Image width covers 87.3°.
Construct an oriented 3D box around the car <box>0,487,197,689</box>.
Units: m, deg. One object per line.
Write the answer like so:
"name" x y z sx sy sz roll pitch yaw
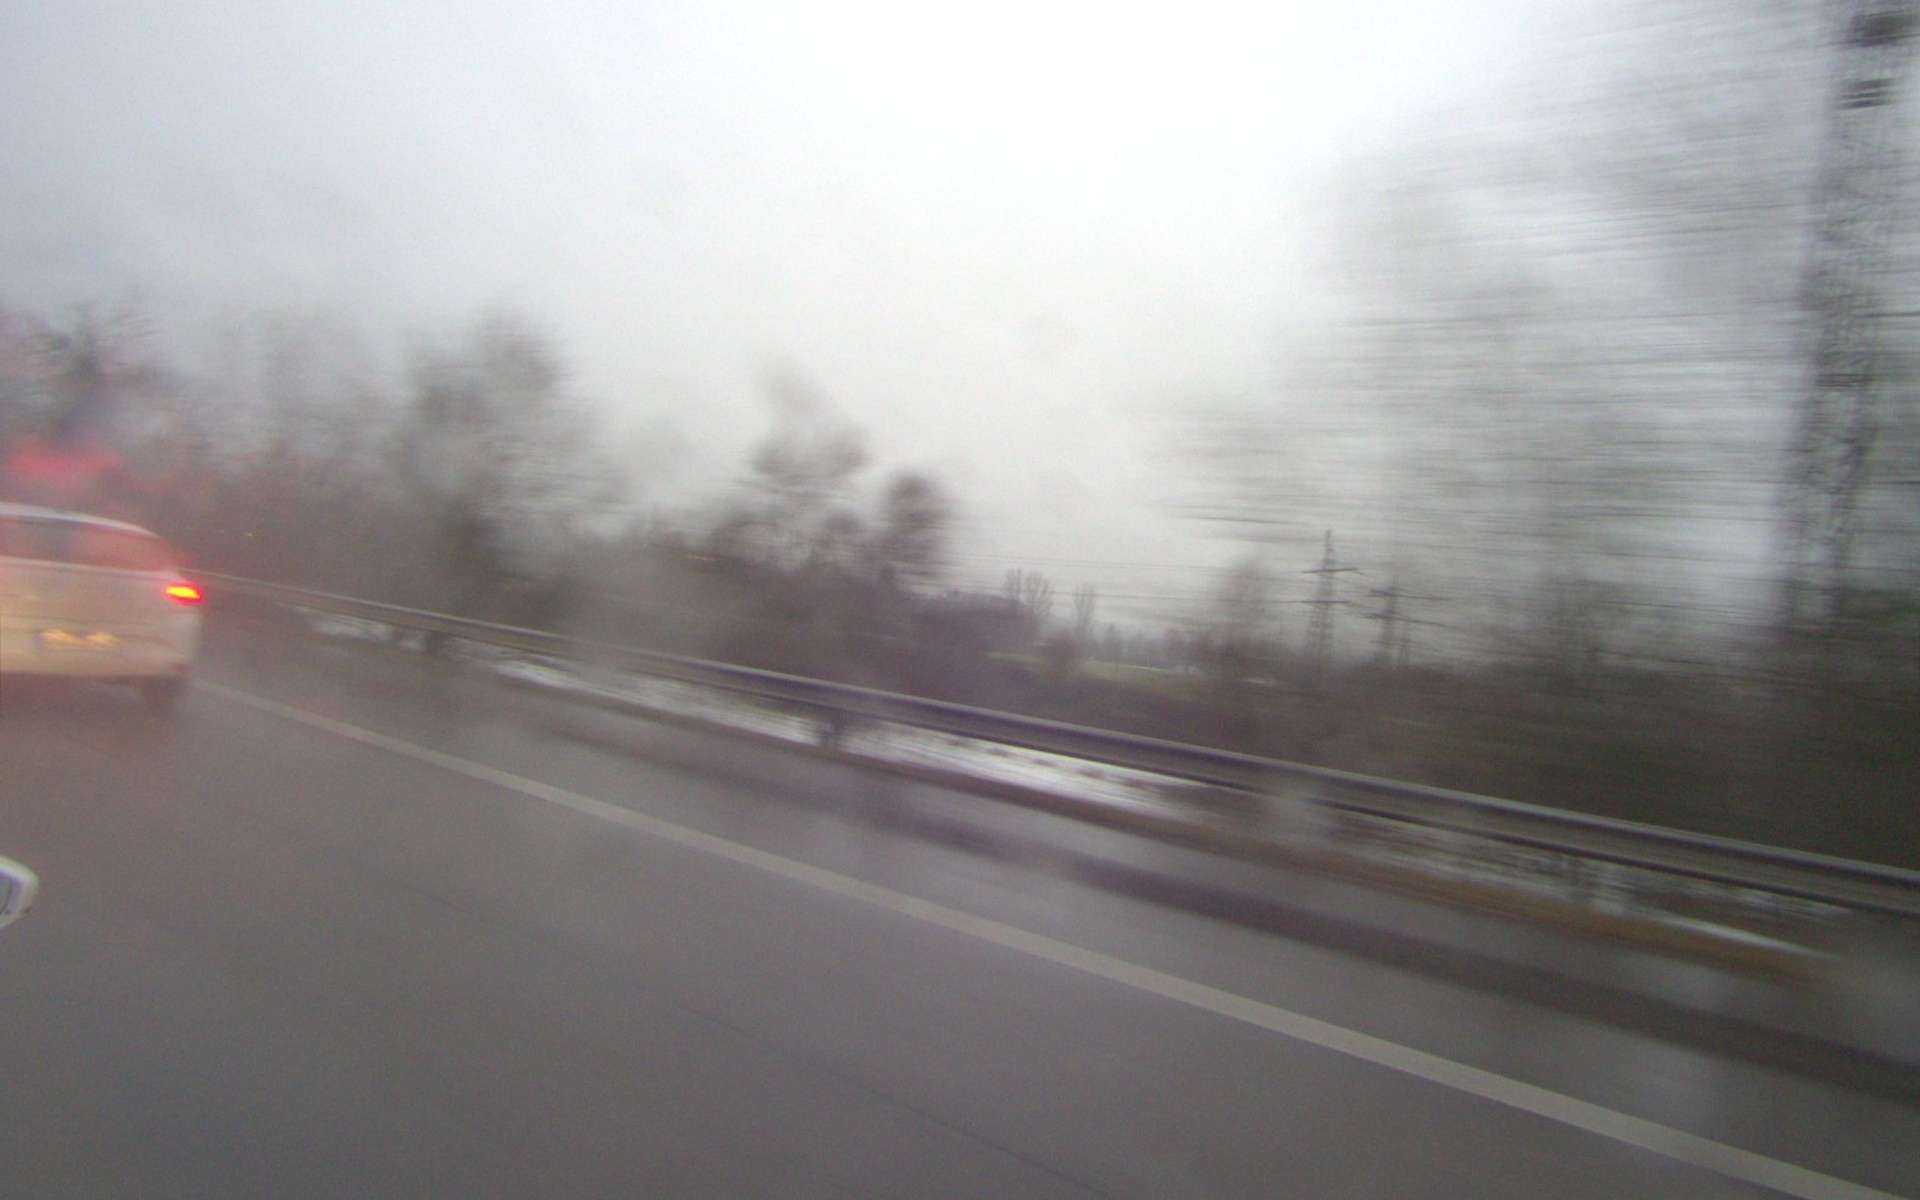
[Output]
"car" -8.724 -0.260 8.866 3.934 1.521 1.800 7 0 32
